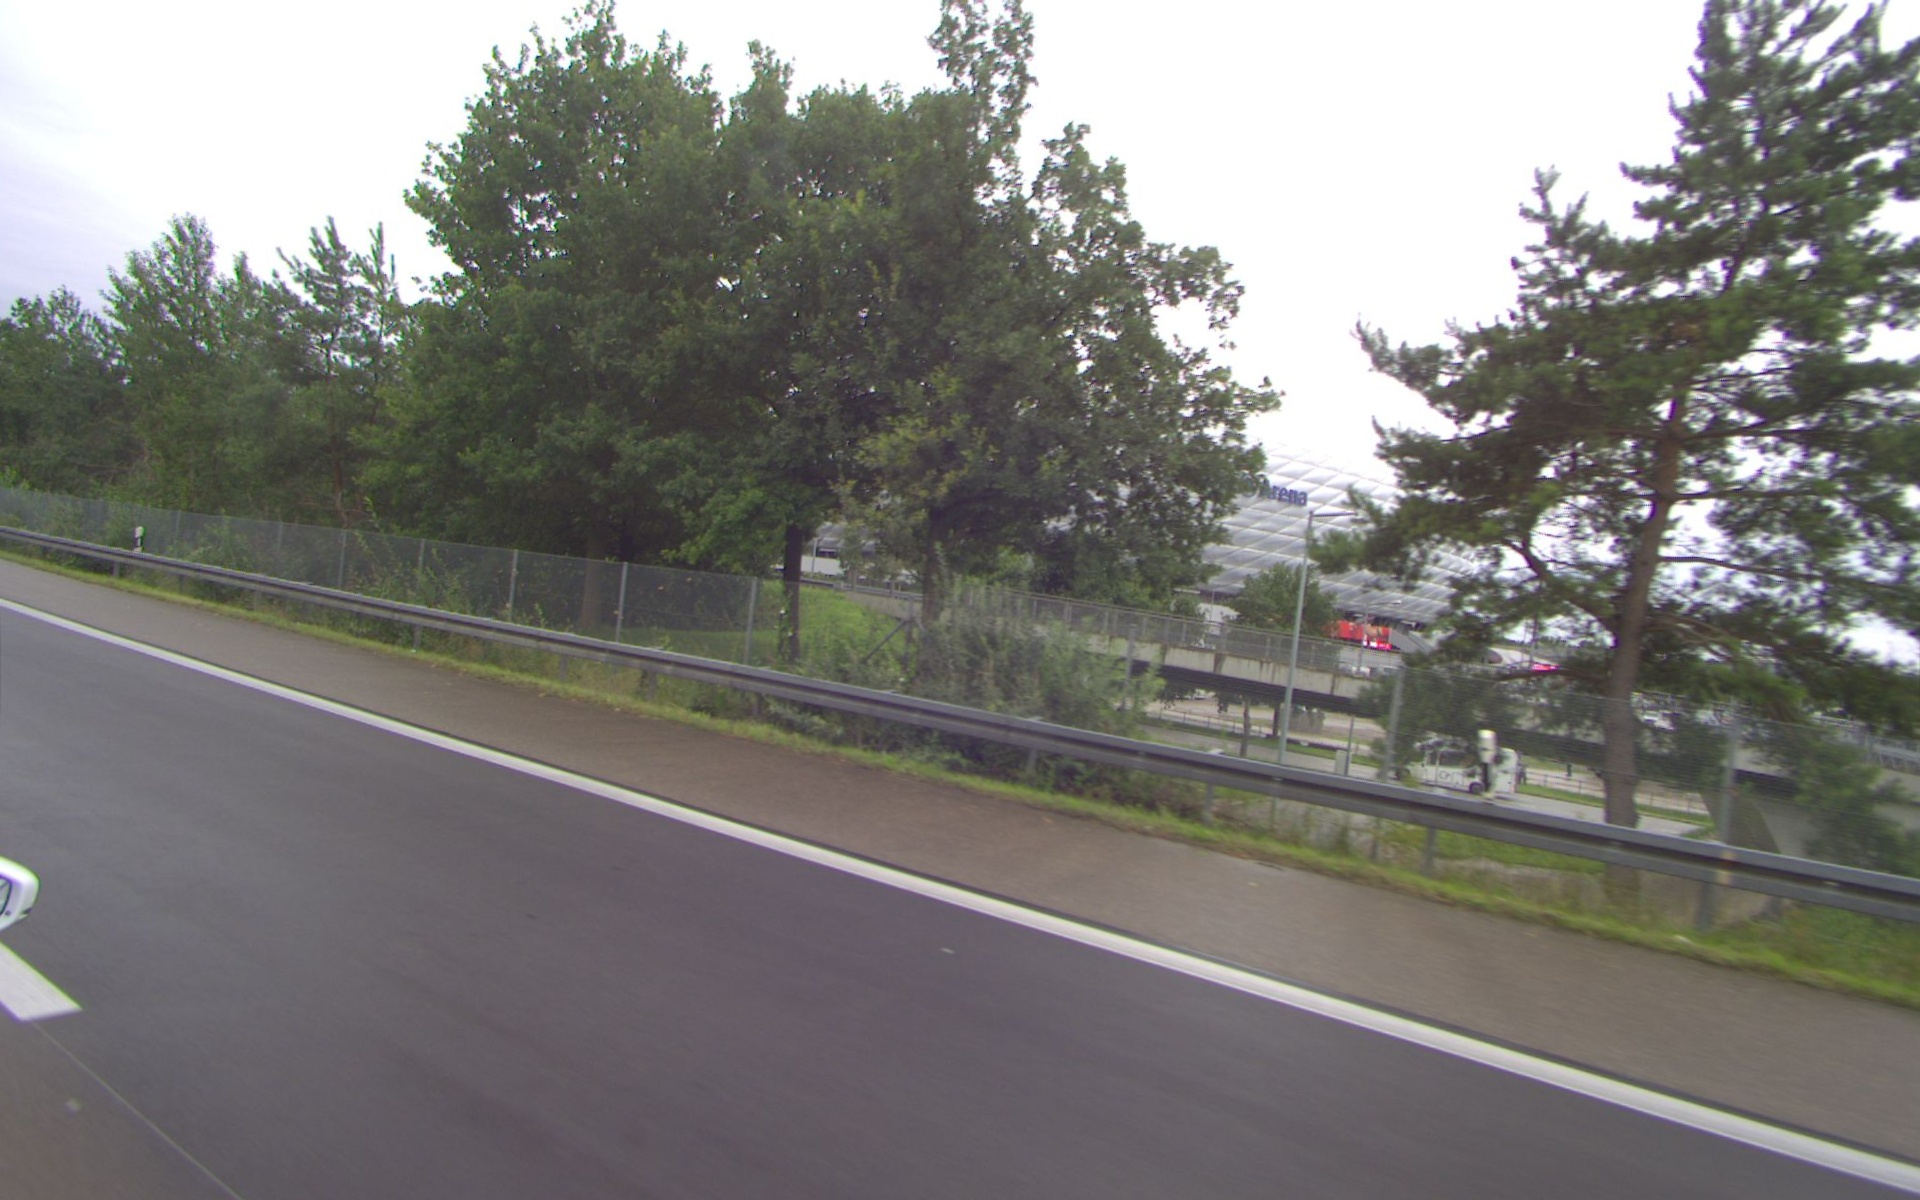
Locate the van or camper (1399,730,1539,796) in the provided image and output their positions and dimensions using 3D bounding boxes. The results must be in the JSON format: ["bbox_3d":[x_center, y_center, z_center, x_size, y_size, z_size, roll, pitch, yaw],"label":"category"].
[{"bbox_3d":[30.288,9.673,60.091,7.130,2.585,2.151,5,2,28],"label":"van or camper"}]
